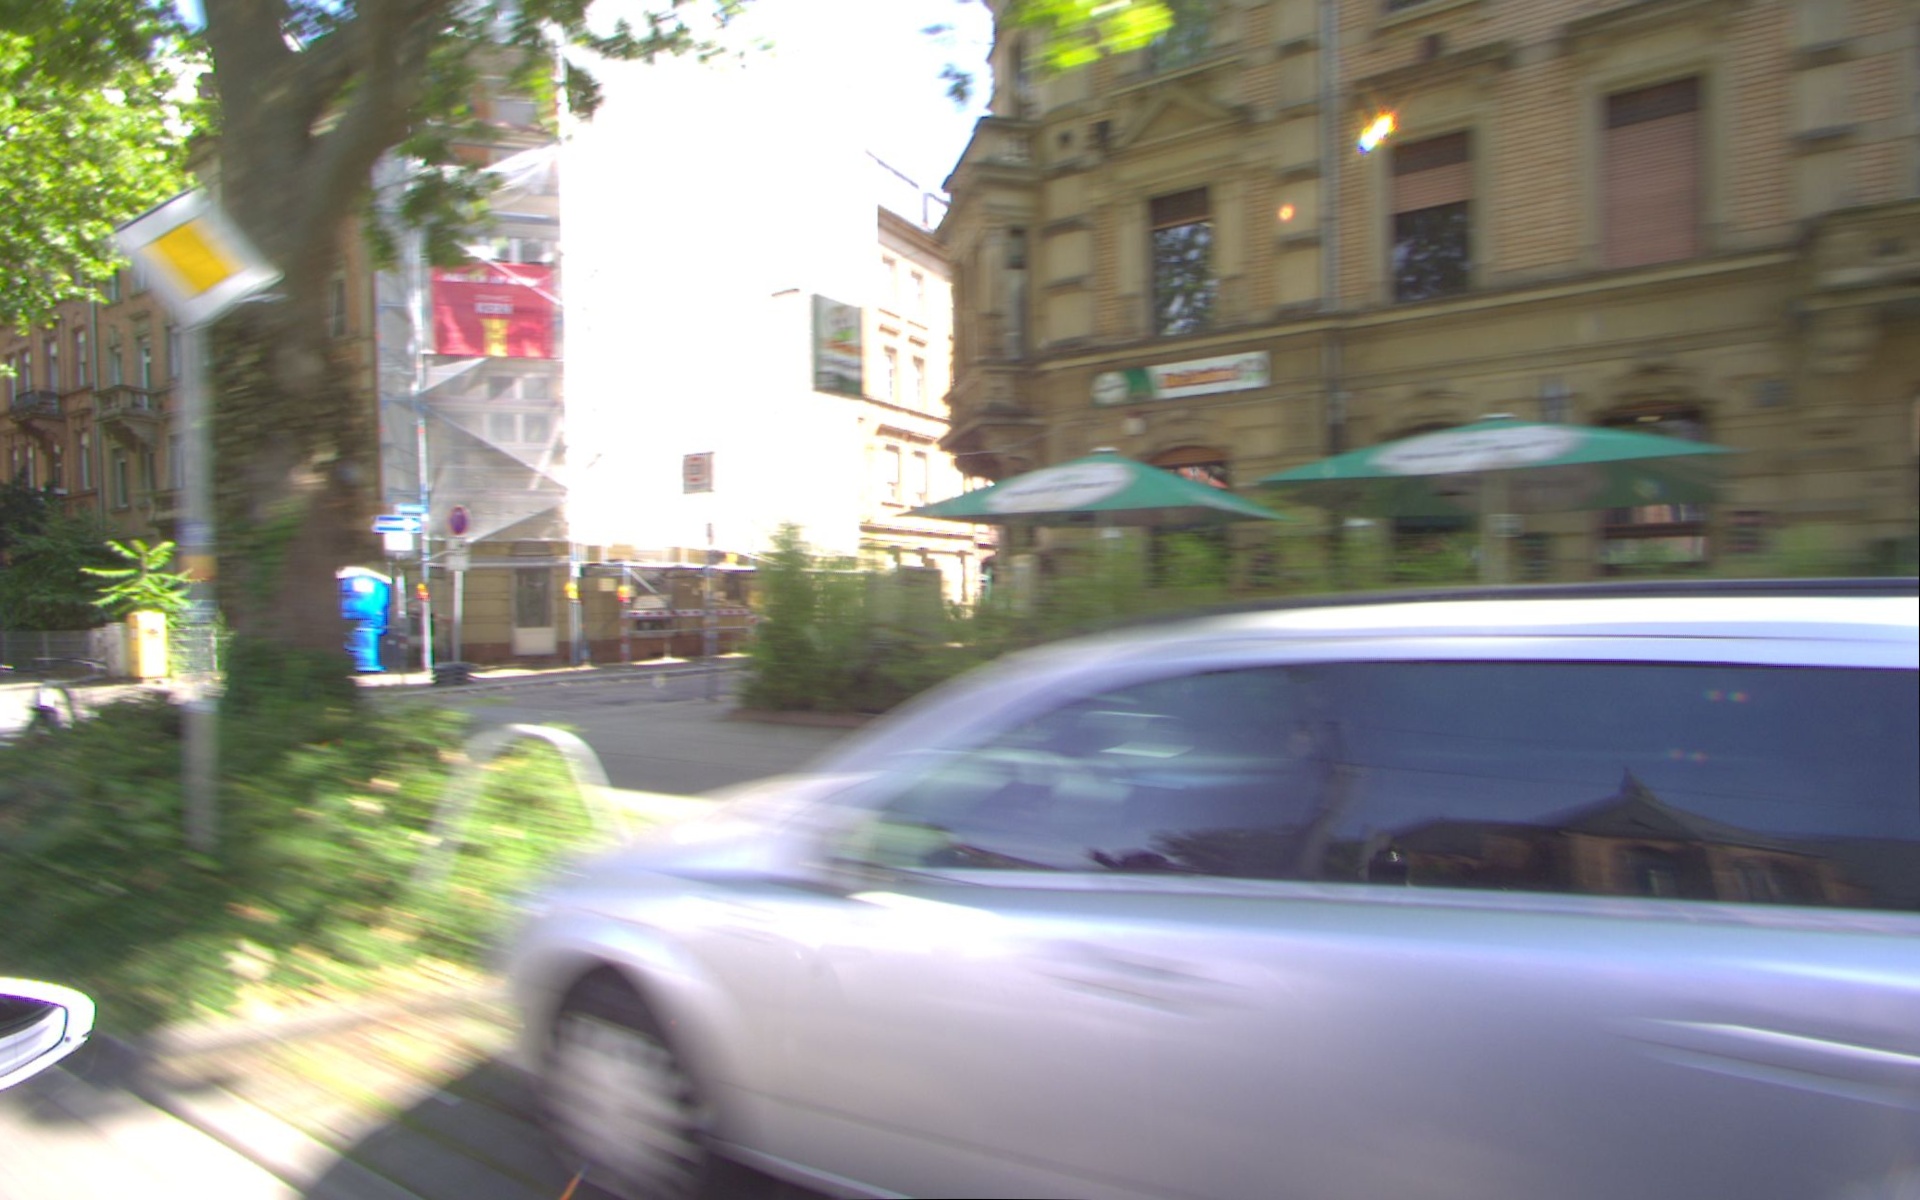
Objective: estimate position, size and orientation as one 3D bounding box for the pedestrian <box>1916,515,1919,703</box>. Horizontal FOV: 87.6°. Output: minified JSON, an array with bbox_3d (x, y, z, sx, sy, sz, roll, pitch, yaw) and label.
[{"bbox_3d":[9.724,0.099,9.525,0.728,1.877,0.847,0,3,32],"label":"pedestrian"}]

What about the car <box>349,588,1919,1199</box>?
[{"bbox_3d":[0.744,0.766,2.482,4.422,1.528,1.832,-1,0,28],"label":"car"}]

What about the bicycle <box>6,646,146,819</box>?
[{"bbox_3d":[-6.680,0.938,7.630,0.416,1.120,1.609,-1,0,-28],"label":"bicycle"}]
